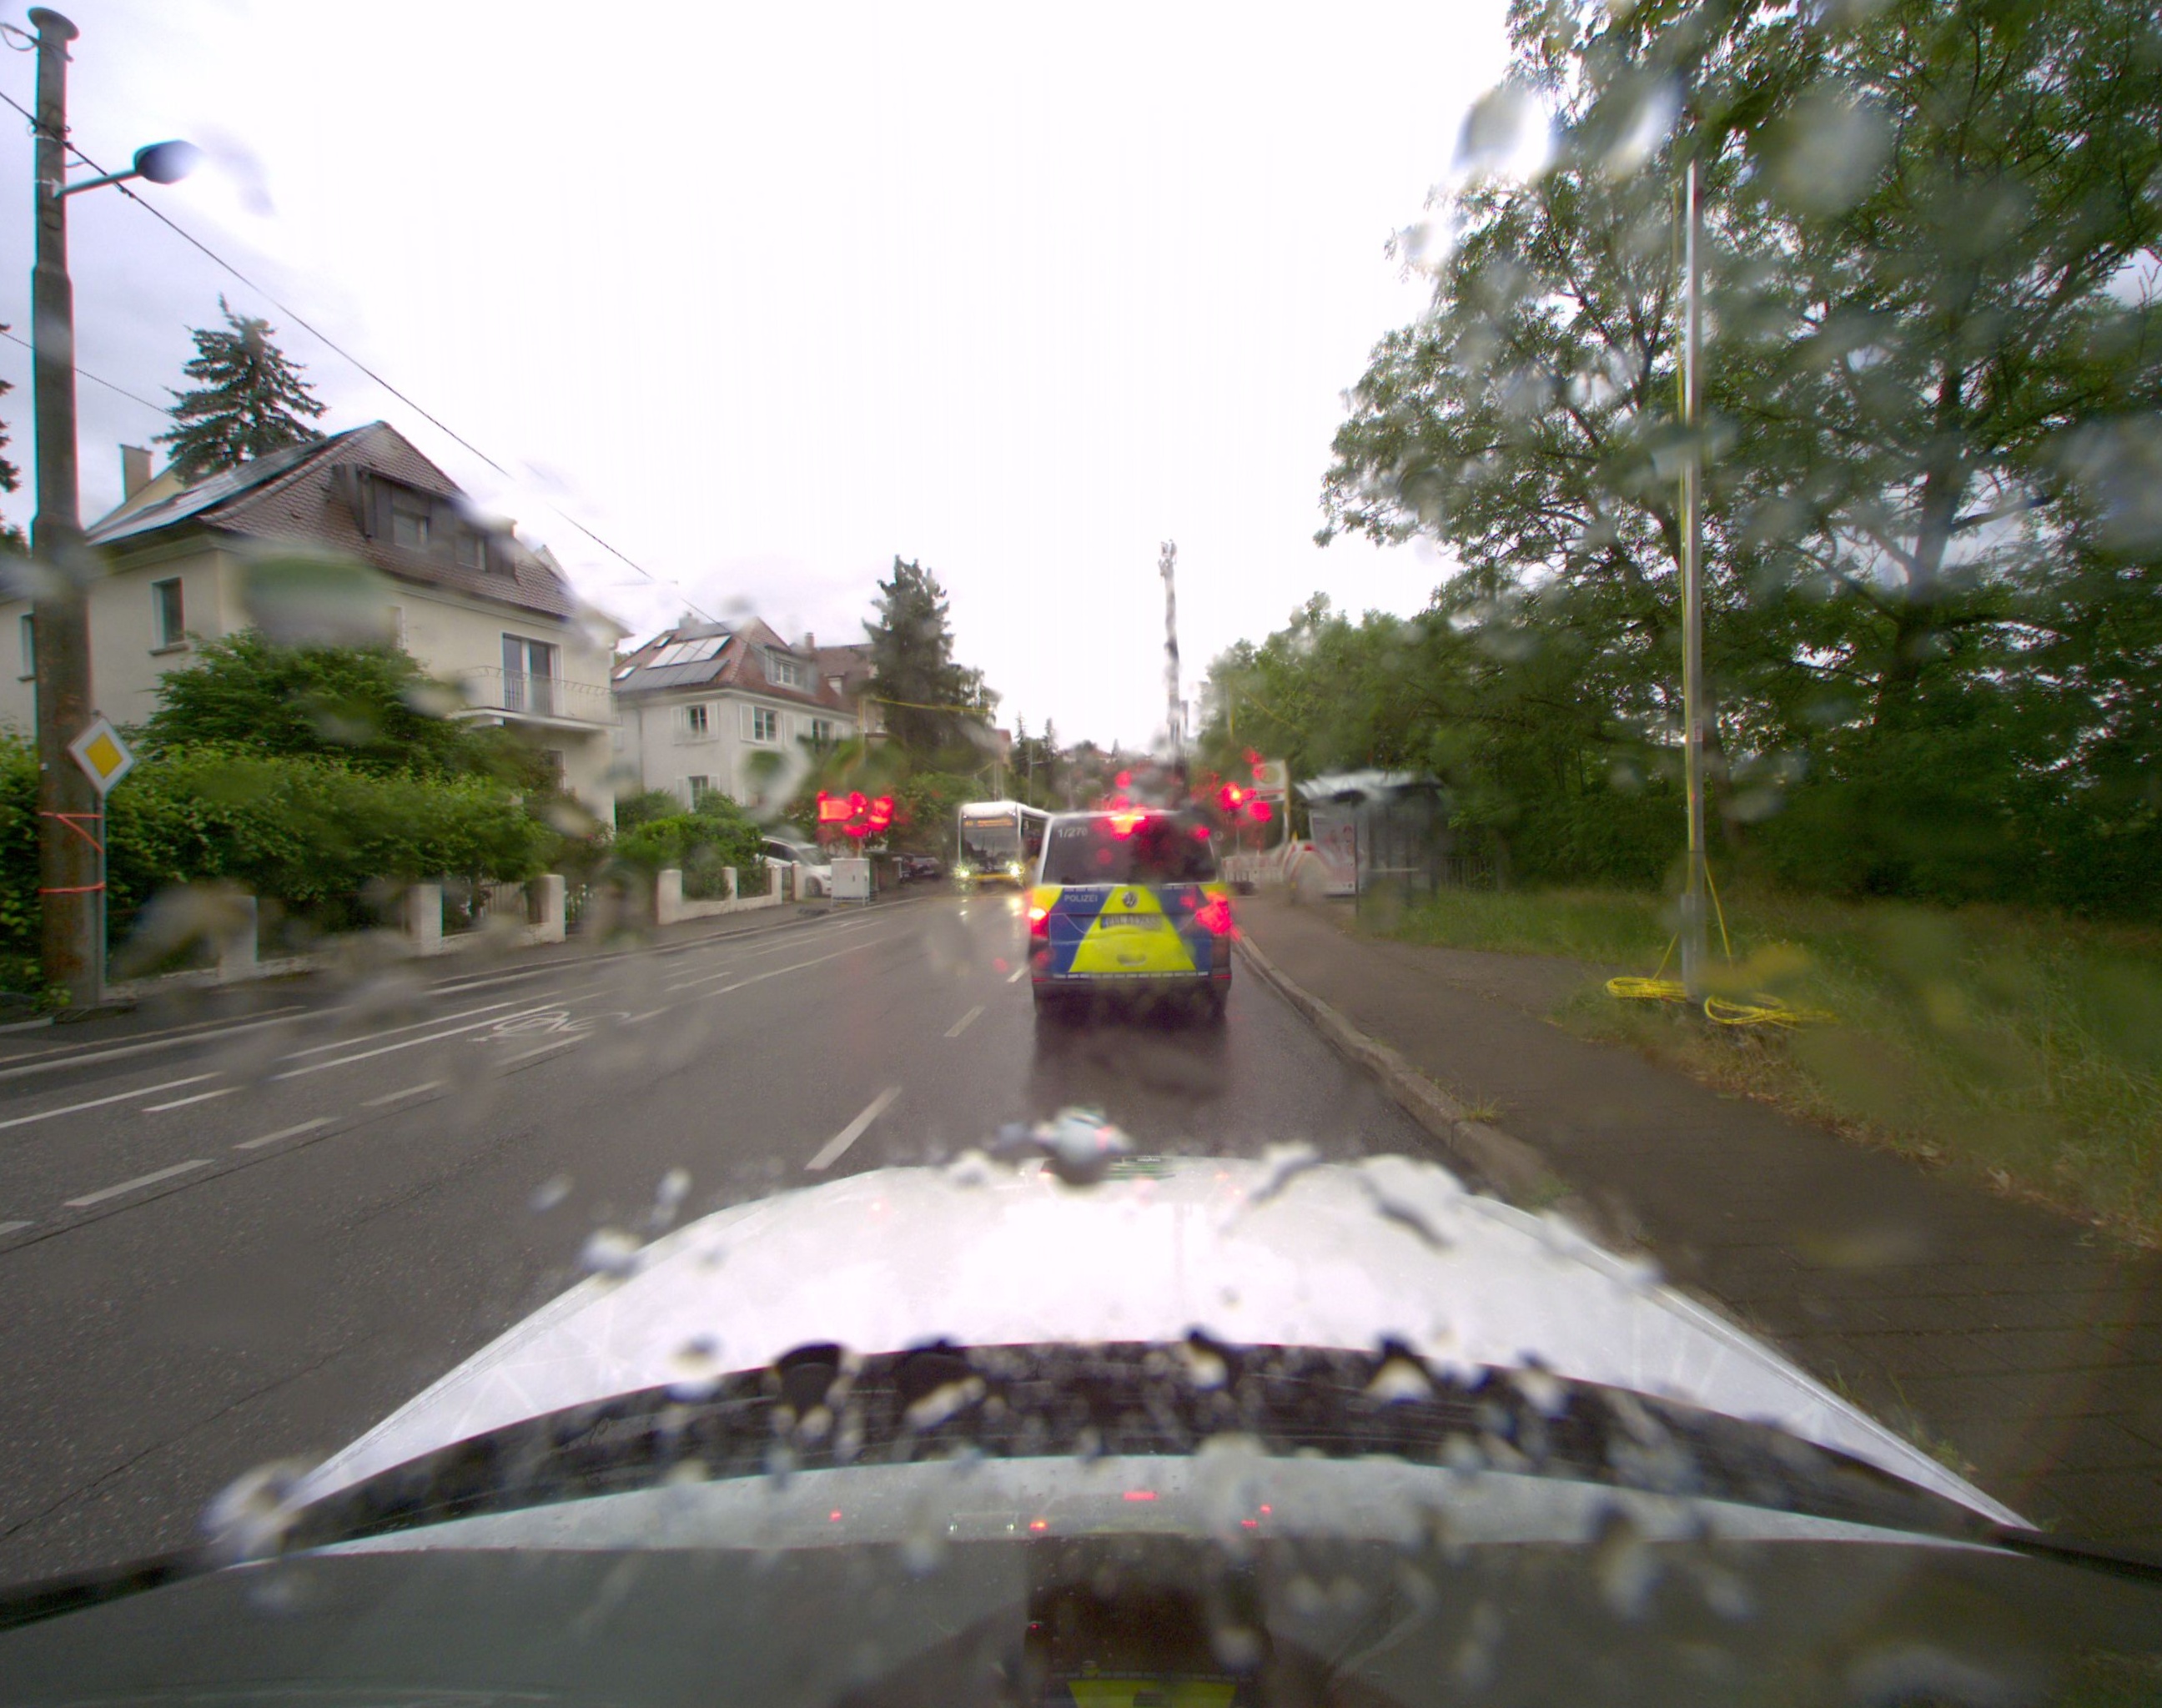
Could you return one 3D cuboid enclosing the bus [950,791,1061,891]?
[{"bbox_3d":[-2.984,-0.502,36.627,2.827,3.718,12.022,0,0,5],"label":"bus"}]

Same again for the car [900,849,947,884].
[{"bbox_3d":[-7.452,0.564,38.283,1.770,1.486,3.720,0,1,-17],"label":"car"}]

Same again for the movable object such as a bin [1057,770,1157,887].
[{"bbox_3d":[1.108,-0.921,31.755,2.809,4.177,4.400,0,0,17],"label":"movable object such as a bin"}]

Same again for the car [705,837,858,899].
[{"bbox_3d":[-10.279,0.465,28.040,4.599,2.007,1.907,0,0,13],"label":"car"}]

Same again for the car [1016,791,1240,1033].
[{"bbox_3d":[0.461,0.488,8.924,1.886,2.050,4.002,0,0,2],"label":"car"}]

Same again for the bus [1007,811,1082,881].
[{"bbox_3d":[-1.908,-0.448,48.529,2.827,3.625,12.022,0,0,5],"label":"bus"}]

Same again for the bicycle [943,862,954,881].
[{"bbox_3d":[-6.497,0.835,39.873,0.463,0.897,1.627,-1,0,-12],"label":"bicycle"}]
